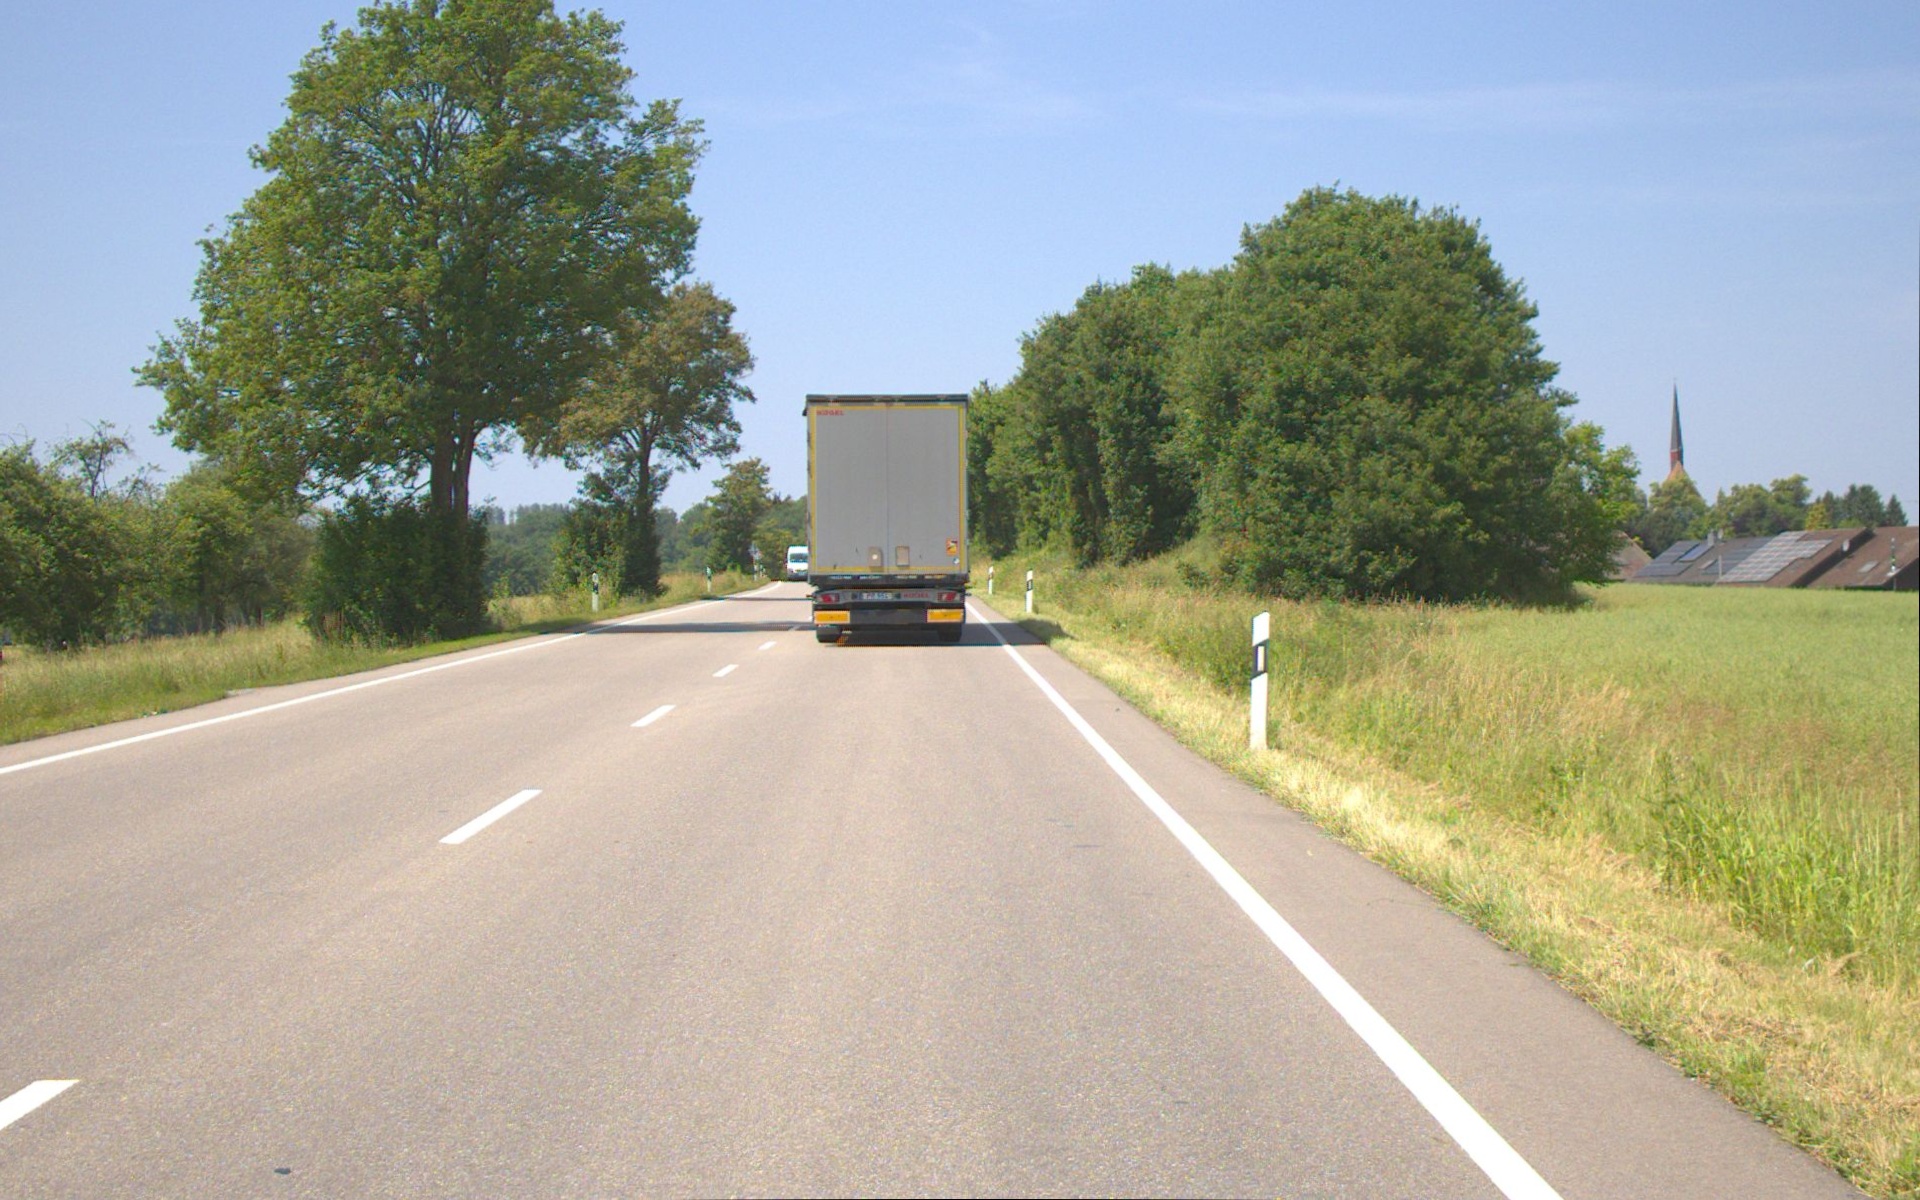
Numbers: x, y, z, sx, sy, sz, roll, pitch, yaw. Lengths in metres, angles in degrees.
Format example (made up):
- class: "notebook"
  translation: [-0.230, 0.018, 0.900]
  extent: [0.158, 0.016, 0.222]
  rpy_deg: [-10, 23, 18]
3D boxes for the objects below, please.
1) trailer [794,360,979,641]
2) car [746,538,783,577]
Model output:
- class: "trailer"
  translation: [-1.296, -1.657, 60.544]
  extent: [2.867, 4.385, 13.494]
  rpy_deg: [0, 1, -1]
- class: "car"
  translation: [-10.134, -2.214, 178.263]
  extent: [1.873, 2.007, 4.075]
  rpy_deg: [1, 1, -3]
